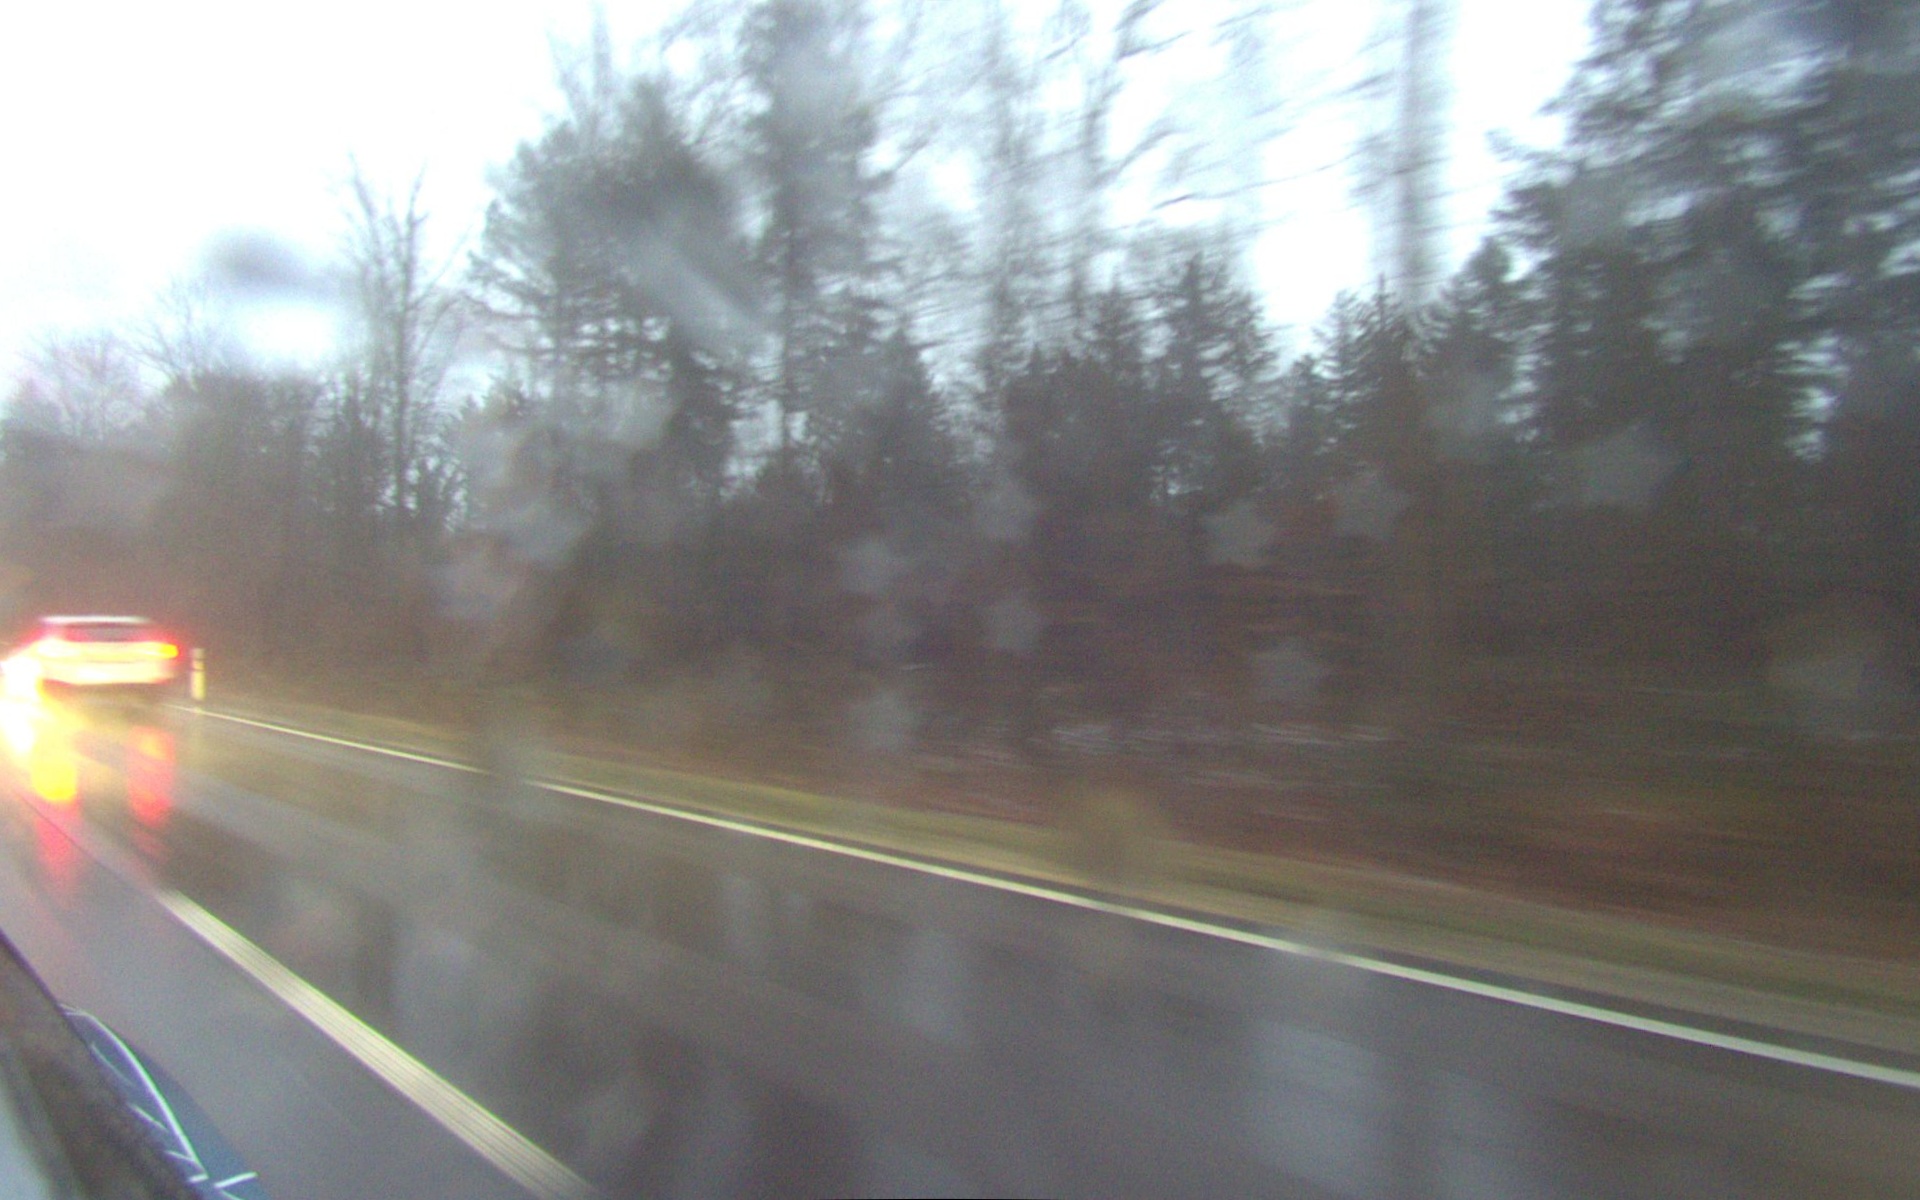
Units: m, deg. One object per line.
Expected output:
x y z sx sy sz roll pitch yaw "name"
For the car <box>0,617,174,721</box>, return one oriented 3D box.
-15.907 1.121 18.258 5.015 1.620 1.897 -1 -1 42 "car"
